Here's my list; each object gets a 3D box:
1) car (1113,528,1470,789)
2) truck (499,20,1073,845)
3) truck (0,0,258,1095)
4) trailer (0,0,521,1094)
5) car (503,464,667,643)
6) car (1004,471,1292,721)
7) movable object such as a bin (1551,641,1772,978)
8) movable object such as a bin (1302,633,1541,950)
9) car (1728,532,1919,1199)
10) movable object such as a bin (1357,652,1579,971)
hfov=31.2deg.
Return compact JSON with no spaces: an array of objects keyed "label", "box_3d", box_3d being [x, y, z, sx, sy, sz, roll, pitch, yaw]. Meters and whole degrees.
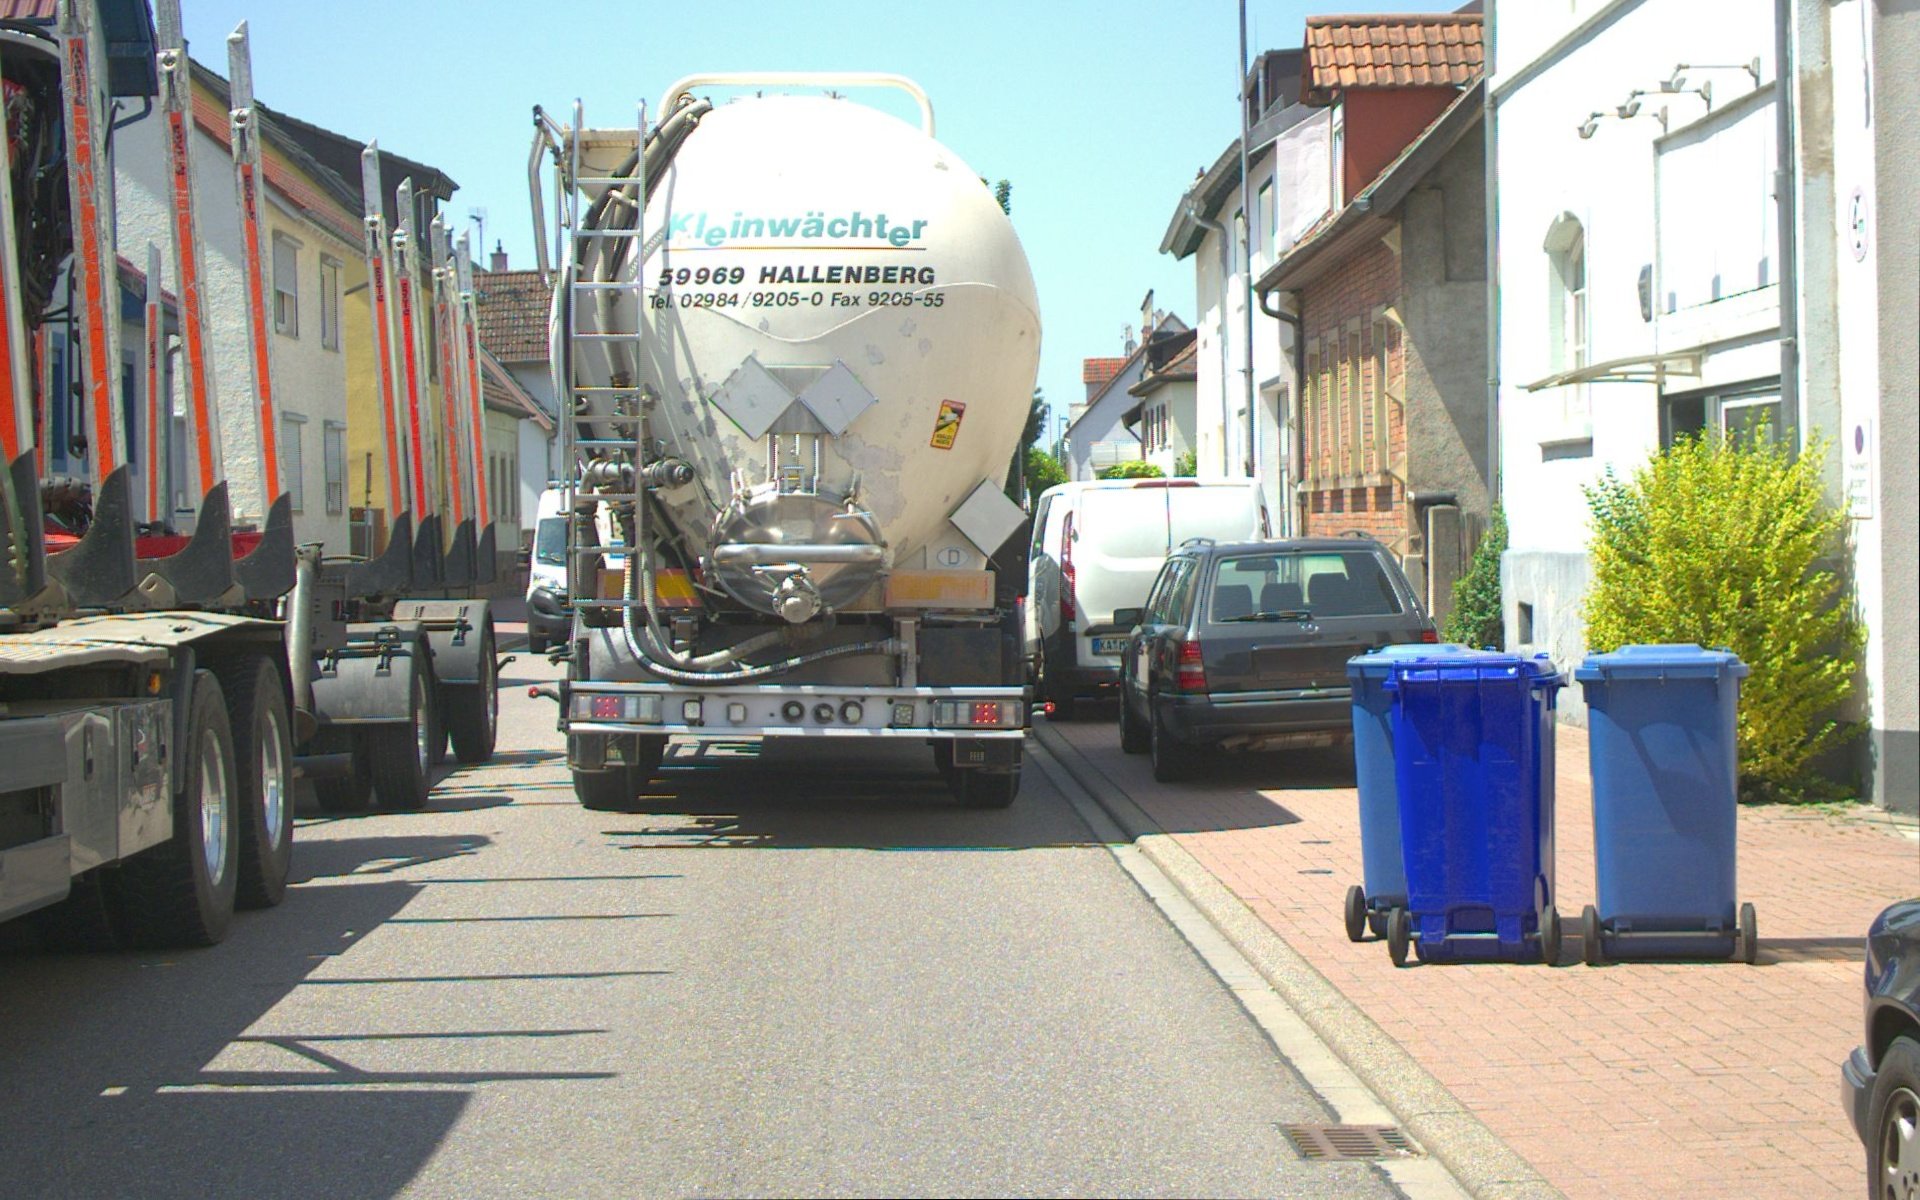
[{"label":"car","box_3d":[2.003,0.286,22.001,1.770,1.461,4.578,-1,1,-1]},{"label":"truck","box_3d":[-0.972,-0.849,20.615,2.732,3.946,8.142,0,1,-2]},{"label":"truck","box_3d":[-4.011,-0.606,10.006,2.618,3.972,6.853,-2,1,-2]},{"label":"trailer","box_3d":[-4.271,-0.729,16.953,2.630,3.965,15.700,-2,1,-2]},{"label":"car","box_3d":[-5.655,-0.733,52.434,2.125,2.533,5.462,-2,1,-3]},{"label":"car","box_3d":[1.541,-0.088,29.900,1.946,1.963,4.786,-1,1,-3]},{"label":"movable object such as a bin","box_3d":[2.385,0.693,11.639,0.654,1.056,0.835,-2,1,15]},{"label":"movable object such as a bin","box_3d":[1.706,0.684,12.600,0.722,1.069,0.971,-2,1,15]},{"label":"car","box_3d":[2.420,0.612,4.208,1.700,1.442,4.837,-3,1,-1]},{"label":"movable object such as a bin","box_3d":[1.765,0.721,11.895,0.656,1.031,0.684,-2,1,15]}]
